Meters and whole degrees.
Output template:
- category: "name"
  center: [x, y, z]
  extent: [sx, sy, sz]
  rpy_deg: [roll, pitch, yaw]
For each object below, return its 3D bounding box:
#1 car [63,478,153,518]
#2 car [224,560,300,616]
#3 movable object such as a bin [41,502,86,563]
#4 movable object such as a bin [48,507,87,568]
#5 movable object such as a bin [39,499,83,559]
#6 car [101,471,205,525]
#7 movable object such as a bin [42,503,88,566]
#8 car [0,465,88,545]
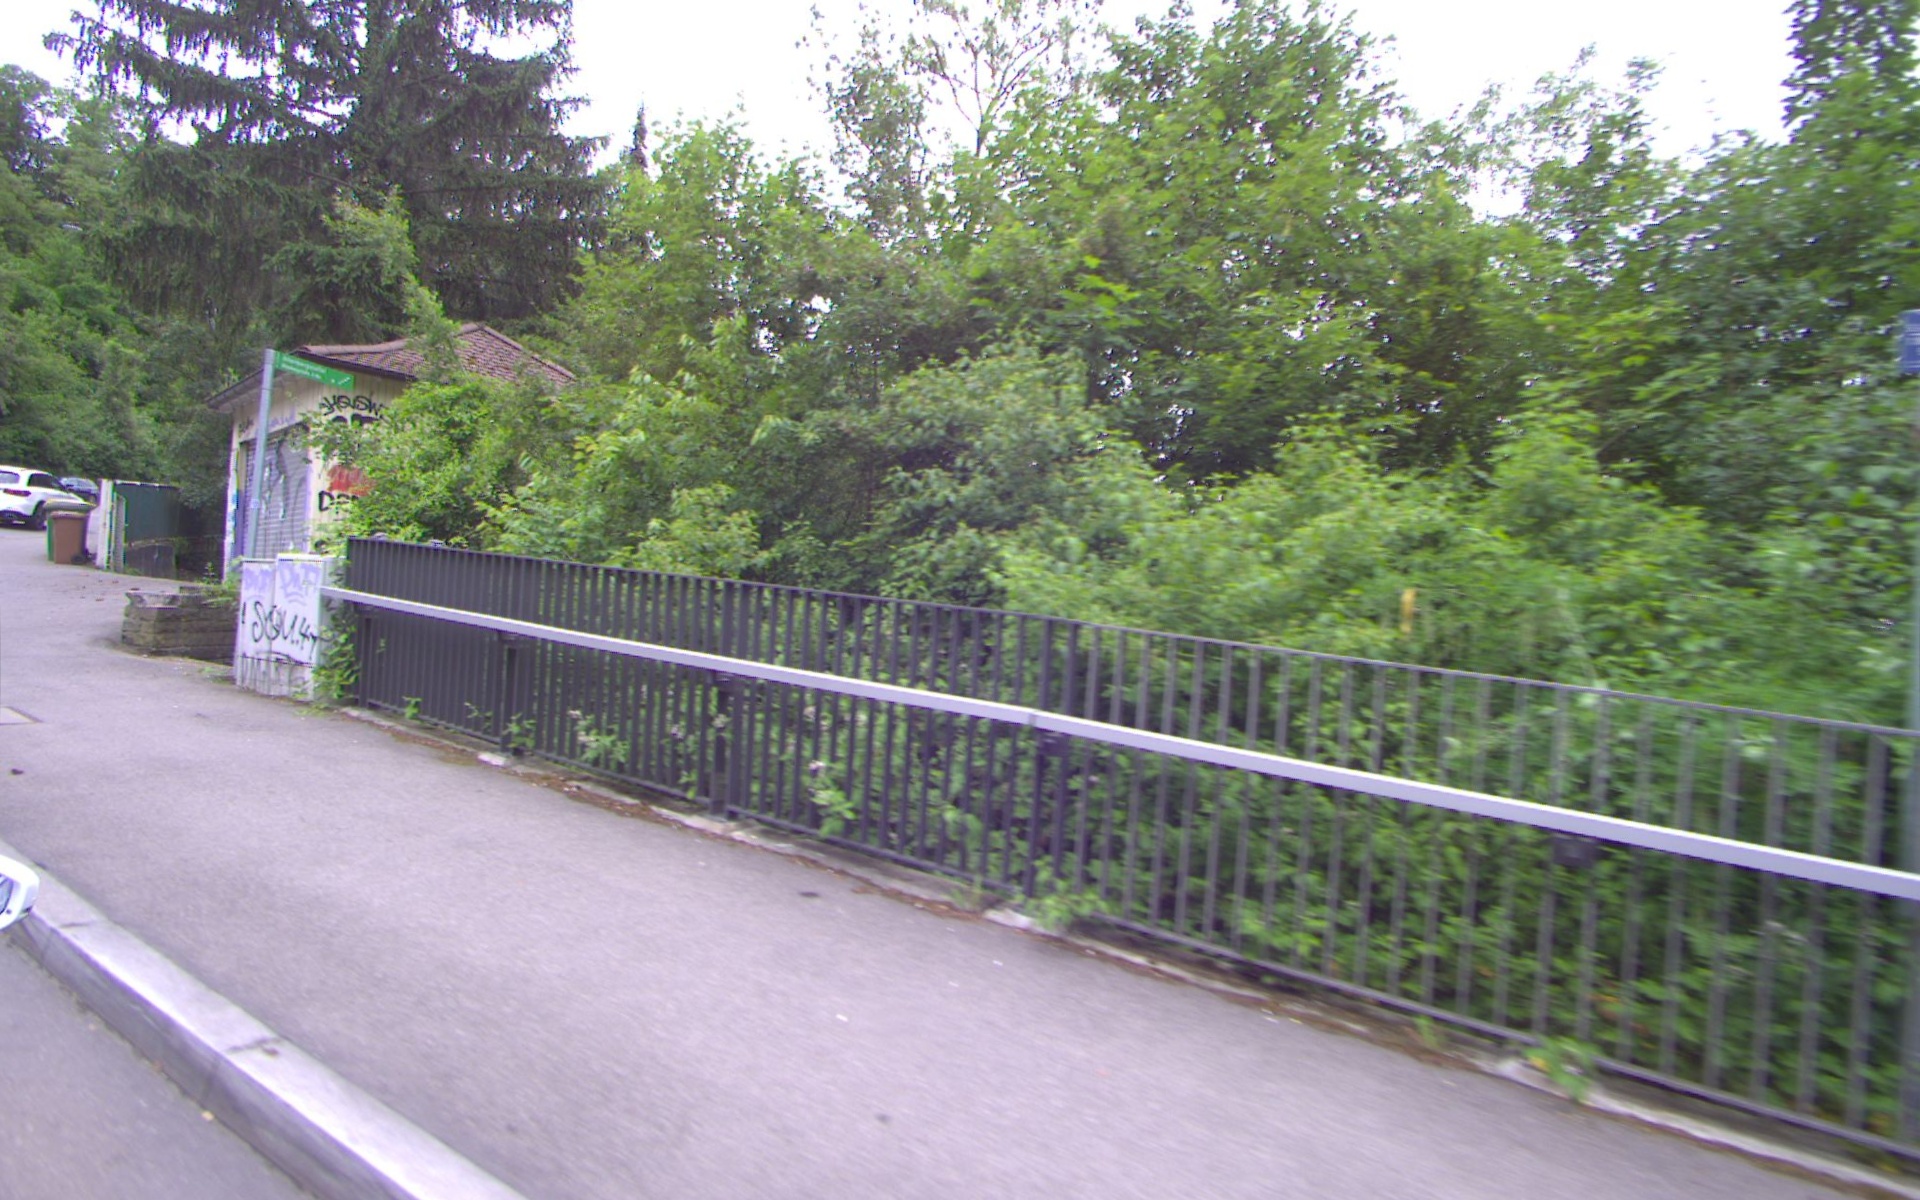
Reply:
- category: "car"
  center: [-44.529, -5.288, 52.694]
  extent: [1.884, 1.504, 3.989]
  rpy_deg: [7, 0, -13]
- category: "car"
  center: [-21.904, -0.325, 31.612]
  extent: [1.717, 1.414, 3.968]
  rpy_deg: [9, -6, -34]
- category: "movable object such as a bin"
  center: [-16.784, -1.260, 18.835]
  extent: [0.601, 1.076, 0.473]
  rpy_deg: [1, 7, -44]
- category: "movable object such as a bin"
  center: [-16.017, -1.120, 18.055]
  extent: [0.497, 1.023, 0.434]
  rpy_deg: [1, 7, -44]
- category: "movable object such as a bin"
  center: [-17.167, -1.357, 19.201]
  extent: [0.601, 1.076, 0.473]
  rpy_deg: [1, 7, -44]
- category: "car"
  center: [-37.029, -4.648, 46.328]
  extent: [1.717, 1.534, 4.310]
  rpy_deg: [7, -5, -10]
- category: "movable object such as a bin"
  center: [-16.396, -1.200, 18.422]
  extent: [0.601, 1.076, 0.473]
  rpy_deg: [1, 7, -44]
- category: "car"
  center: [-26.559, -2.711, 28.159]
  extent: [1.975, 1.864, 4.128]
  rpy_deg: [8, -2, -24]
